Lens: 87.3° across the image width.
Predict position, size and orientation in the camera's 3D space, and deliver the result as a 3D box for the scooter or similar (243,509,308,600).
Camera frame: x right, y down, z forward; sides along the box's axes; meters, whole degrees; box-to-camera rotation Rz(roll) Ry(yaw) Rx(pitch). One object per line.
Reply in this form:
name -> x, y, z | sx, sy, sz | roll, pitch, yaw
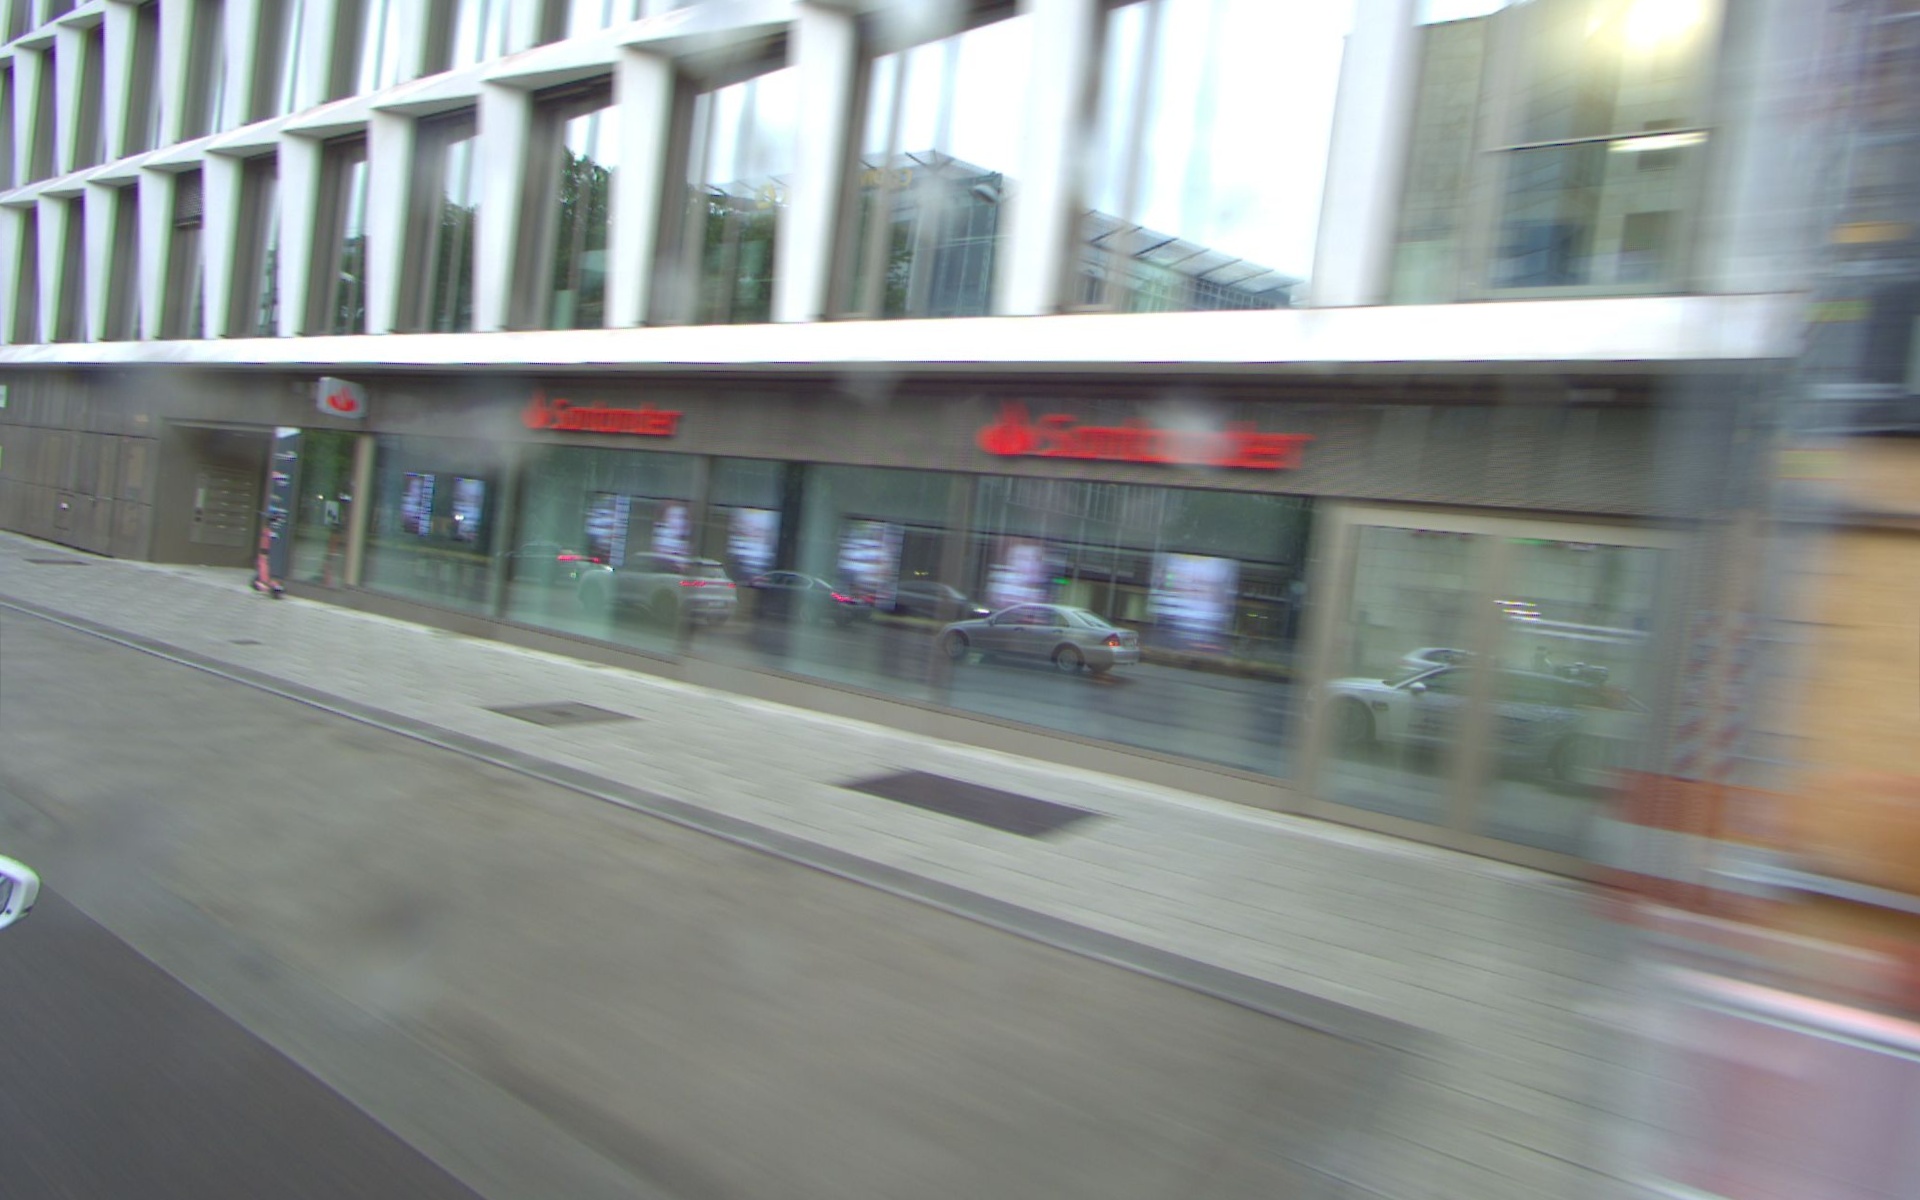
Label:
scooter or similar -> -10.348, -0.698, 15.198 | 1.172, 1.251, 0.411 | 8, 1, 41
